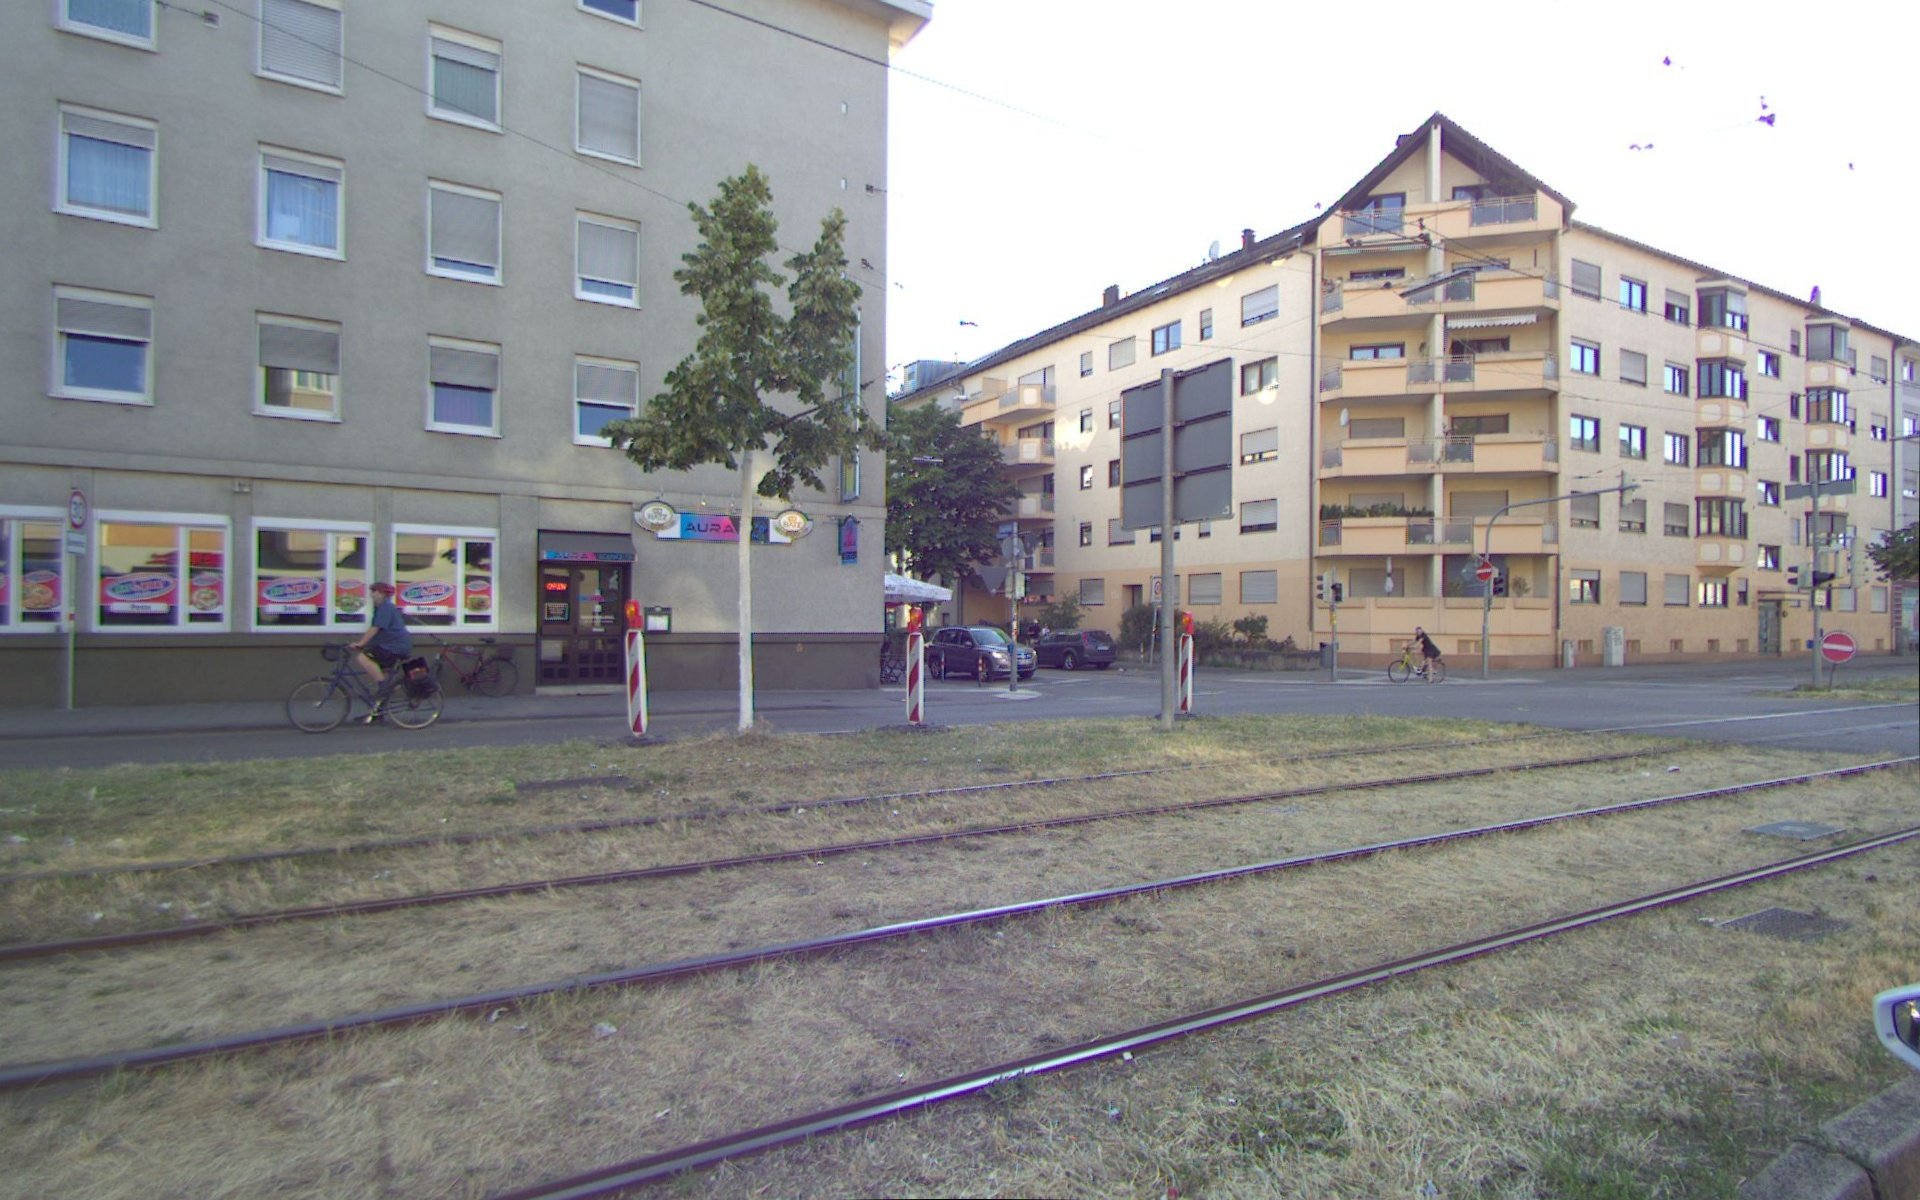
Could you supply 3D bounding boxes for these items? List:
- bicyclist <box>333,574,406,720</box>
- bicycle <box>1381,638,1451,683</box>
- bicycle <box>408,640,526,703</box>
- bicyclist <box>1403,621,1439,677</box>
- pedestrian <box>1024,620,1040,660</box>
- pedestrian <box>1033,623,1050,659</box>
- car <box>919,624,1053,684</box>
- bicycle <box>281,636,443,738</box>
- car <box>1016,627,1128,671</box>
[{"bbox_3d":[-7.967,0.631,13.582,0.799,1.907,0.648,1,-2,-28],"label":"bicyclist"},{"bbox_3d":[13.290,1.750,29.300,1.833,1.274,0.457,0,0,3],"label":"bicycle"},{"bbox_3d":[-8.666,1.239,17.681,1.823,1.037,0.605,2,0,-31],"label":"bicycle"},{"bbox_3d":[13.450,1.423,29.322,0.793,1.607,0.628,0,0,4],"label":"bicyclist"},{"bbox_3d":[3.185,1.773,44.651,0.456,1.727,0.589,2,0,-24],"label":"pedestrian"},{"bbox_3d":[3.641,1.829,44.948,0.509,1.573,0.547,1,0,-24],"label":"pedestrian"},{"bbox_3d":[0.739,1.621,31.441,1.982,1.645,4.153,-3,1,-38],"label":"car"},{"bbox_3d":[-8.010,1.141,13.536,1.848,1.274,0.453,0,0,-29],"label":"bicycle"},{"bbox_3d":[4.146,1.784,37.596,1.982,1.462,3.957,-2,0,-38],"label":"car"}]
